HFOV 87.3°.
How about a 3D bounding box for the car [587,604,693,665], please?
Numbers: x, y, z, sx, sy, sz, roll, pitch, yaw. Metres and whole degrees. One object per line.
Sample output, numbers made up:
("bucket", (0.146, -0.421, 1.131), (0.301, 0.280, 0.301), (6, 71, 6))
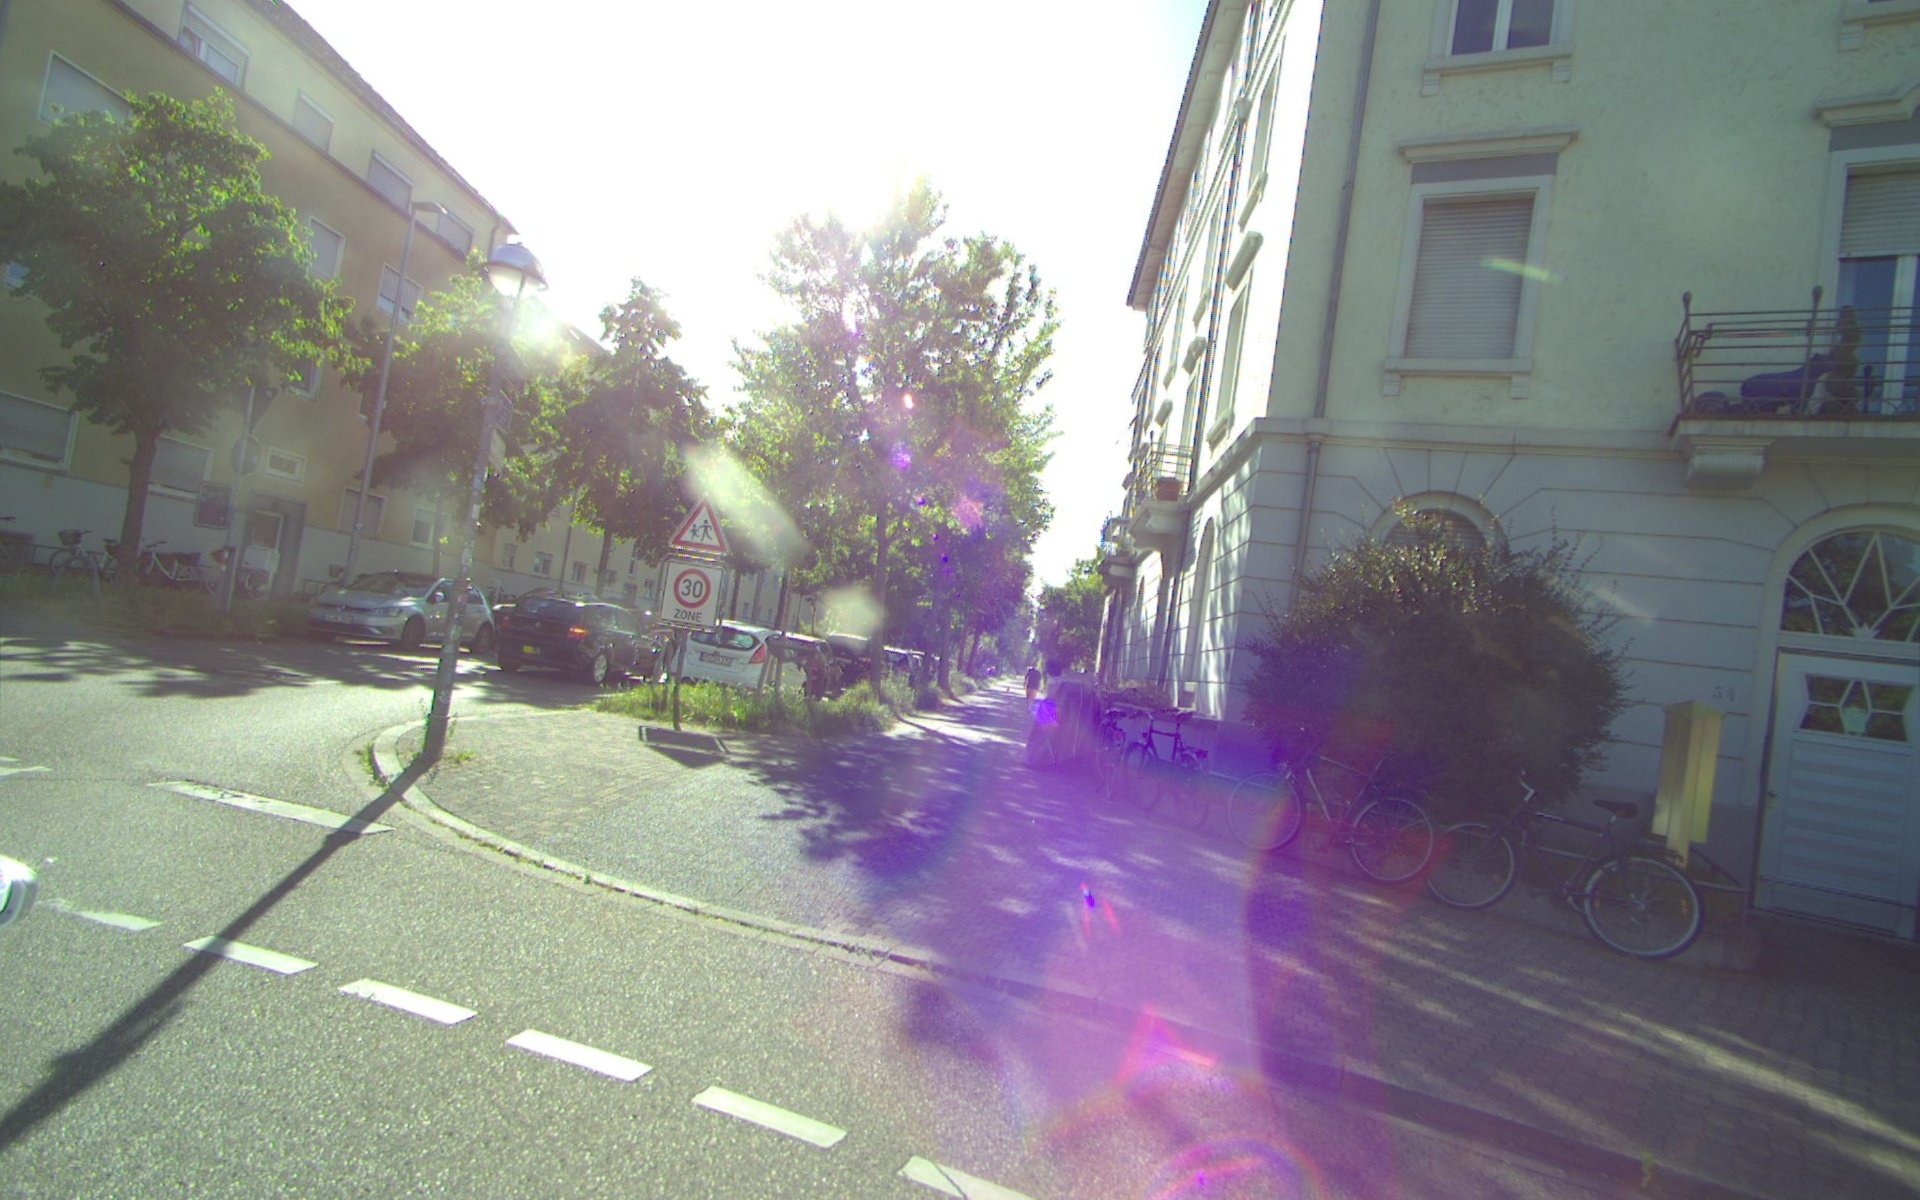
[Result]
("car", (-9.712, 1.107, 30.839), (1.767, 1.526, 4.005), (8, -3, 0))

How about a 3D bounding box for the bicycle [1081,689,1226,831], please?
("bicycle", (1.935, 1.588, 10.367), (0.493, 1.120, 1.945), (8, -2, -16))

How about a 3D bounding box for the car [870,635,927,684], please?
("car", (-2.323, 2.303, 38.747), (1.767, 1.526, 4.005), (8, -3, 0))

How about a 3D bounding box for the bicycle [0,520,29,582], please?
("bicycle", (-16.965, -0.920, 17.236), (0.491, 1.037, 1.452), (8, -3, 3))

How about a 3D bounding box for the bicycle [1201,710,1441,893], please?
("bicycle", (2.930, 1.613, 8.349), (0.496, 1.120, 1.782), (9, -2, -36))

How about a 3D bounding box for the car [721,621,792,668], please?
("car", (-7.926, 1.794, 39.570), (1.767, 1.526, 4.005), (8, -3, 0))

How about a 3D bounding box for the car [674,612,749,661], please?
("car", (-9.806, 1.502, 39.967), (1.767, 1.592, 4.006), (8, -4, 1))

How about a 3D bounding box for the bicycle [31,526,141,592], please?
("bicycle", (-16.789, -0.772, 19.366), (0.491, 1.037, 1.452), (8, -3, 15))

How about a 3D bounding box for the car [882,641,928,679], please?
("car", (-2.608, 2.893, 48.519), (1.767, 1.526, 4.005), (8, -3, 0))

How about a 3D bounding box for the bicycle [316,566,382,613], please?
("bicycle", (-16.333, -0.267, 26.925), (0.491, 1.037, 1.452), (8, -3, 15))

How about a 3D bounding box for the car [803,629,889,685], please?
("car", (-3.211, 1.667, 28.952), (1.766, 1.269, 3.725), (8, -3, 3))

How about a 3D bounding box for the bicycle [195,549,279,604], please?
("bicycle", (-16.438, -0.522, 22.901), (0.491, 1.037, 1.452), (8, -3, 15))

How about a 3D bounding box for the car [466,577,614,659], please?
("car", (-10.293, 0.530, 25.021), (1.767, 1.592, 4.006), (8, -4, 1))

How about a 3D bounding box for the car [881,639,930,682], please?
("car", (-2.329, 2.651, 44.068), (1.767, 1.526, 4.005), (8, -3, 0))

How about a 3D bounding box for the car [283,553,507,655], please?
("car", (-10.457, 0.180, 19.015), (1.771, 1.426, 4.006), (8, -4, 1))

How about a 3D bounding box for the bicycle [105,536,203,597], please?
("bicycle", (-16.785, -0.684, 20.989), (0.491, 1.037, 1.452), (8, -3, 15))

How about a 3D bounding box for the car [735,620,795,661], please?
("car", (-8.963, 1.914, 46.515), (1.767, 1.592, 4.006), (8, -4, 1))

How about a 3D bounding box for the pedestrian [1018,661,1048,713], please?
("pedestrian", (2.574, 3.065, 35.590), (0.819, 1.704, 0.750), (8, -2, 2))

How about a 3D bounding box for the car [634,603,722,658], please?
("car", (-9.693, 1.117, 34.897), (1.767, 1.526, 4.005), (8, -3, 0))

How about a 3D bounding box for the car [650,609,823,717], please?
("car", (-3.771, 1.129, 17.738), (1.766, 1.427, 4.007), (9, -3, 4))

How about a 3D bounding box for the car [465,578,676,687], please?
("car", (-6.693, 0.650, 17.823), (1.836, 1.434, 4.007), (9, -3, 3))

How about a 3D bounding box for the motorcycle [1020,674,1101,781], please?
("motorcycle", (1.315, 1.633, 13.204), (0.871, 1.205, 1.492), (6, -2, 6))

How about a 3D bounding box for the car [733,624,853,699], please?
("car", (-3.590, 1.375, 22.302), (1.766, 1.269, 3.725), (8, -3, 3))

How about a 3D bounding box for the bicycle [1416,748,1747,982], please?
("bicycle", (4.220, 1.742, 6.957), (0.497, 1.120, 1.778), (9, -2, -43))
